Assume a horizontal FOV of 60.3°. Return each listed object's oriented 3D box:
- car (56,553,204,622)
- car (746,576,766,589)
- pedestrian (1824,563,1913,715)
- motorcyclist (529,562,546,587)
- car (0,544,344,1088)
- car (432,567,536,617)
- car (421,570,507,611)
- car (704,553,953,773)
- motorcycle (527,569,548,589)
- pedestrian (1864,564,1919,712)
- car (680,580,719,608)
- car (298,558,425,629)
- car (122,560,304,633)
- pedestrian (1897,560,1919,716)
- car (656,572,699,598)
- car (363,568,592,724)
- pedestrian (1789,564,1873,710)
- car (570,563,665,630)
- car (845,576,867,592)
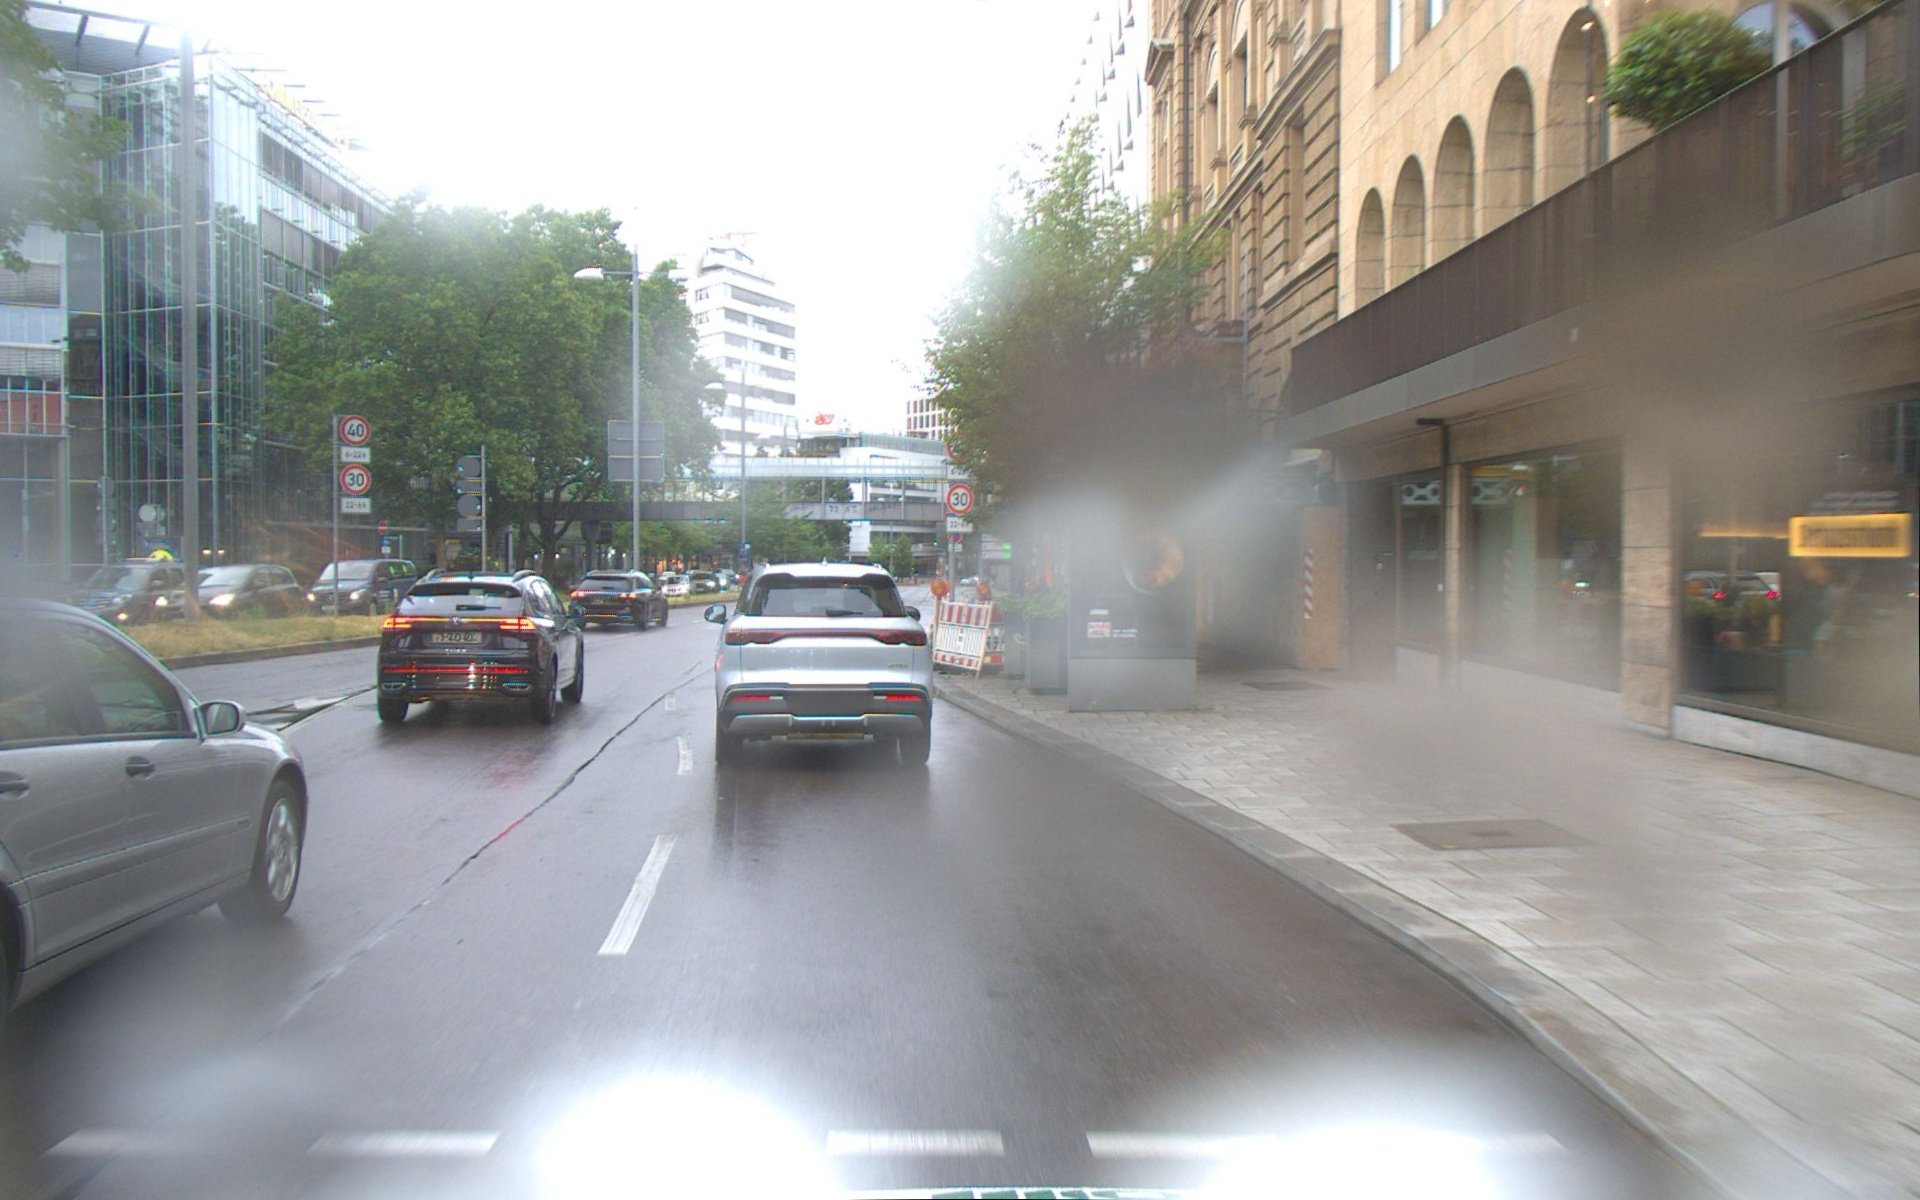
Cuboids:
[{"bbox_3d":[-21.084,-0.317,42.209,1.794,1.668,4.090,0,0,-2],"label":"car"},{"bbox_3d":[-22.678,-1.902,183.781,1.564,1.383,4.117,0,0,1],"label":"car"},{"bbox_3d":[6.671,0.276,12.156,0.322,1.092,0.479,1,1,-10],"label":"pedestrian"},{"bbox_3d":[-21.479,-1.285,84.130,0.661,1.260,0.619,1,0,0],"label":"motorcyclist"},{"bbox_3d":[-3.540,0.563,5.451,1.639,1.504,4.357,2,1,-4],"label":"car"},{"bbox_3d":[-14.653,-0.251,51.132,1.821,1.467,4.314,0,0,2],"label":"car"},{"bbox_3d":[-18.298,-0.357,61.212,1.691,1.457,4.397,0,0,2],"label":"car"},{"bbox_3d":[-1.257,0.457,14.731,1.865,1.649,3.994,2,1,-8],"label":"car"},{"bbox_3d":[-21.475,-1.051,84.155,0.680,0.987,1.397,1,1,0],"label":"motorcycle"},{"bbox_3d":[7.257,0.279,12.541,0.425,1.092,0.538,1,1,-14],"label":"pedestrian"},{"bbox_3d":[-16.715,-0.384,106.286,1.836,1.709,4.680,0,0,-1],"label":"car"},{"bbox_3d":[-18.000,-0.194,50.012,1.793,2.037,5.106,0,0,2],"label":"car"},{"bbox_3d":[-15.165,-0.068,33.813,1.710,1.388,3.945,0,0,4],"label":"car"},{"bbox_3d":[6.877,0.269,11.561,0.533,1.074,0.408,2,1,30],"label":"pedestrian"},{"bbox_3d":[-15.505,-0.817,90.953,1.564,1.383,4.117,0,0,1],"label":"car"},{"bbox_3d":[-5.052,0.439,17.819,1.740,1.482,3.994,0,0,-7],"label":"car"},{"bbox_3d":[6.703,0.275,12.733,0.322,1.092,0.479,1,1,-10],"label":"pedestrian"},{"bbox_3d":[-8.662,-0.119,42.138,1.776,1.606,3.997,1,1,-4],"label":"car"},{"bbox_3d":[-9.278,-1.405,147.316,1.619,1.365,4.001,1,1,1],"label":"car"}]
